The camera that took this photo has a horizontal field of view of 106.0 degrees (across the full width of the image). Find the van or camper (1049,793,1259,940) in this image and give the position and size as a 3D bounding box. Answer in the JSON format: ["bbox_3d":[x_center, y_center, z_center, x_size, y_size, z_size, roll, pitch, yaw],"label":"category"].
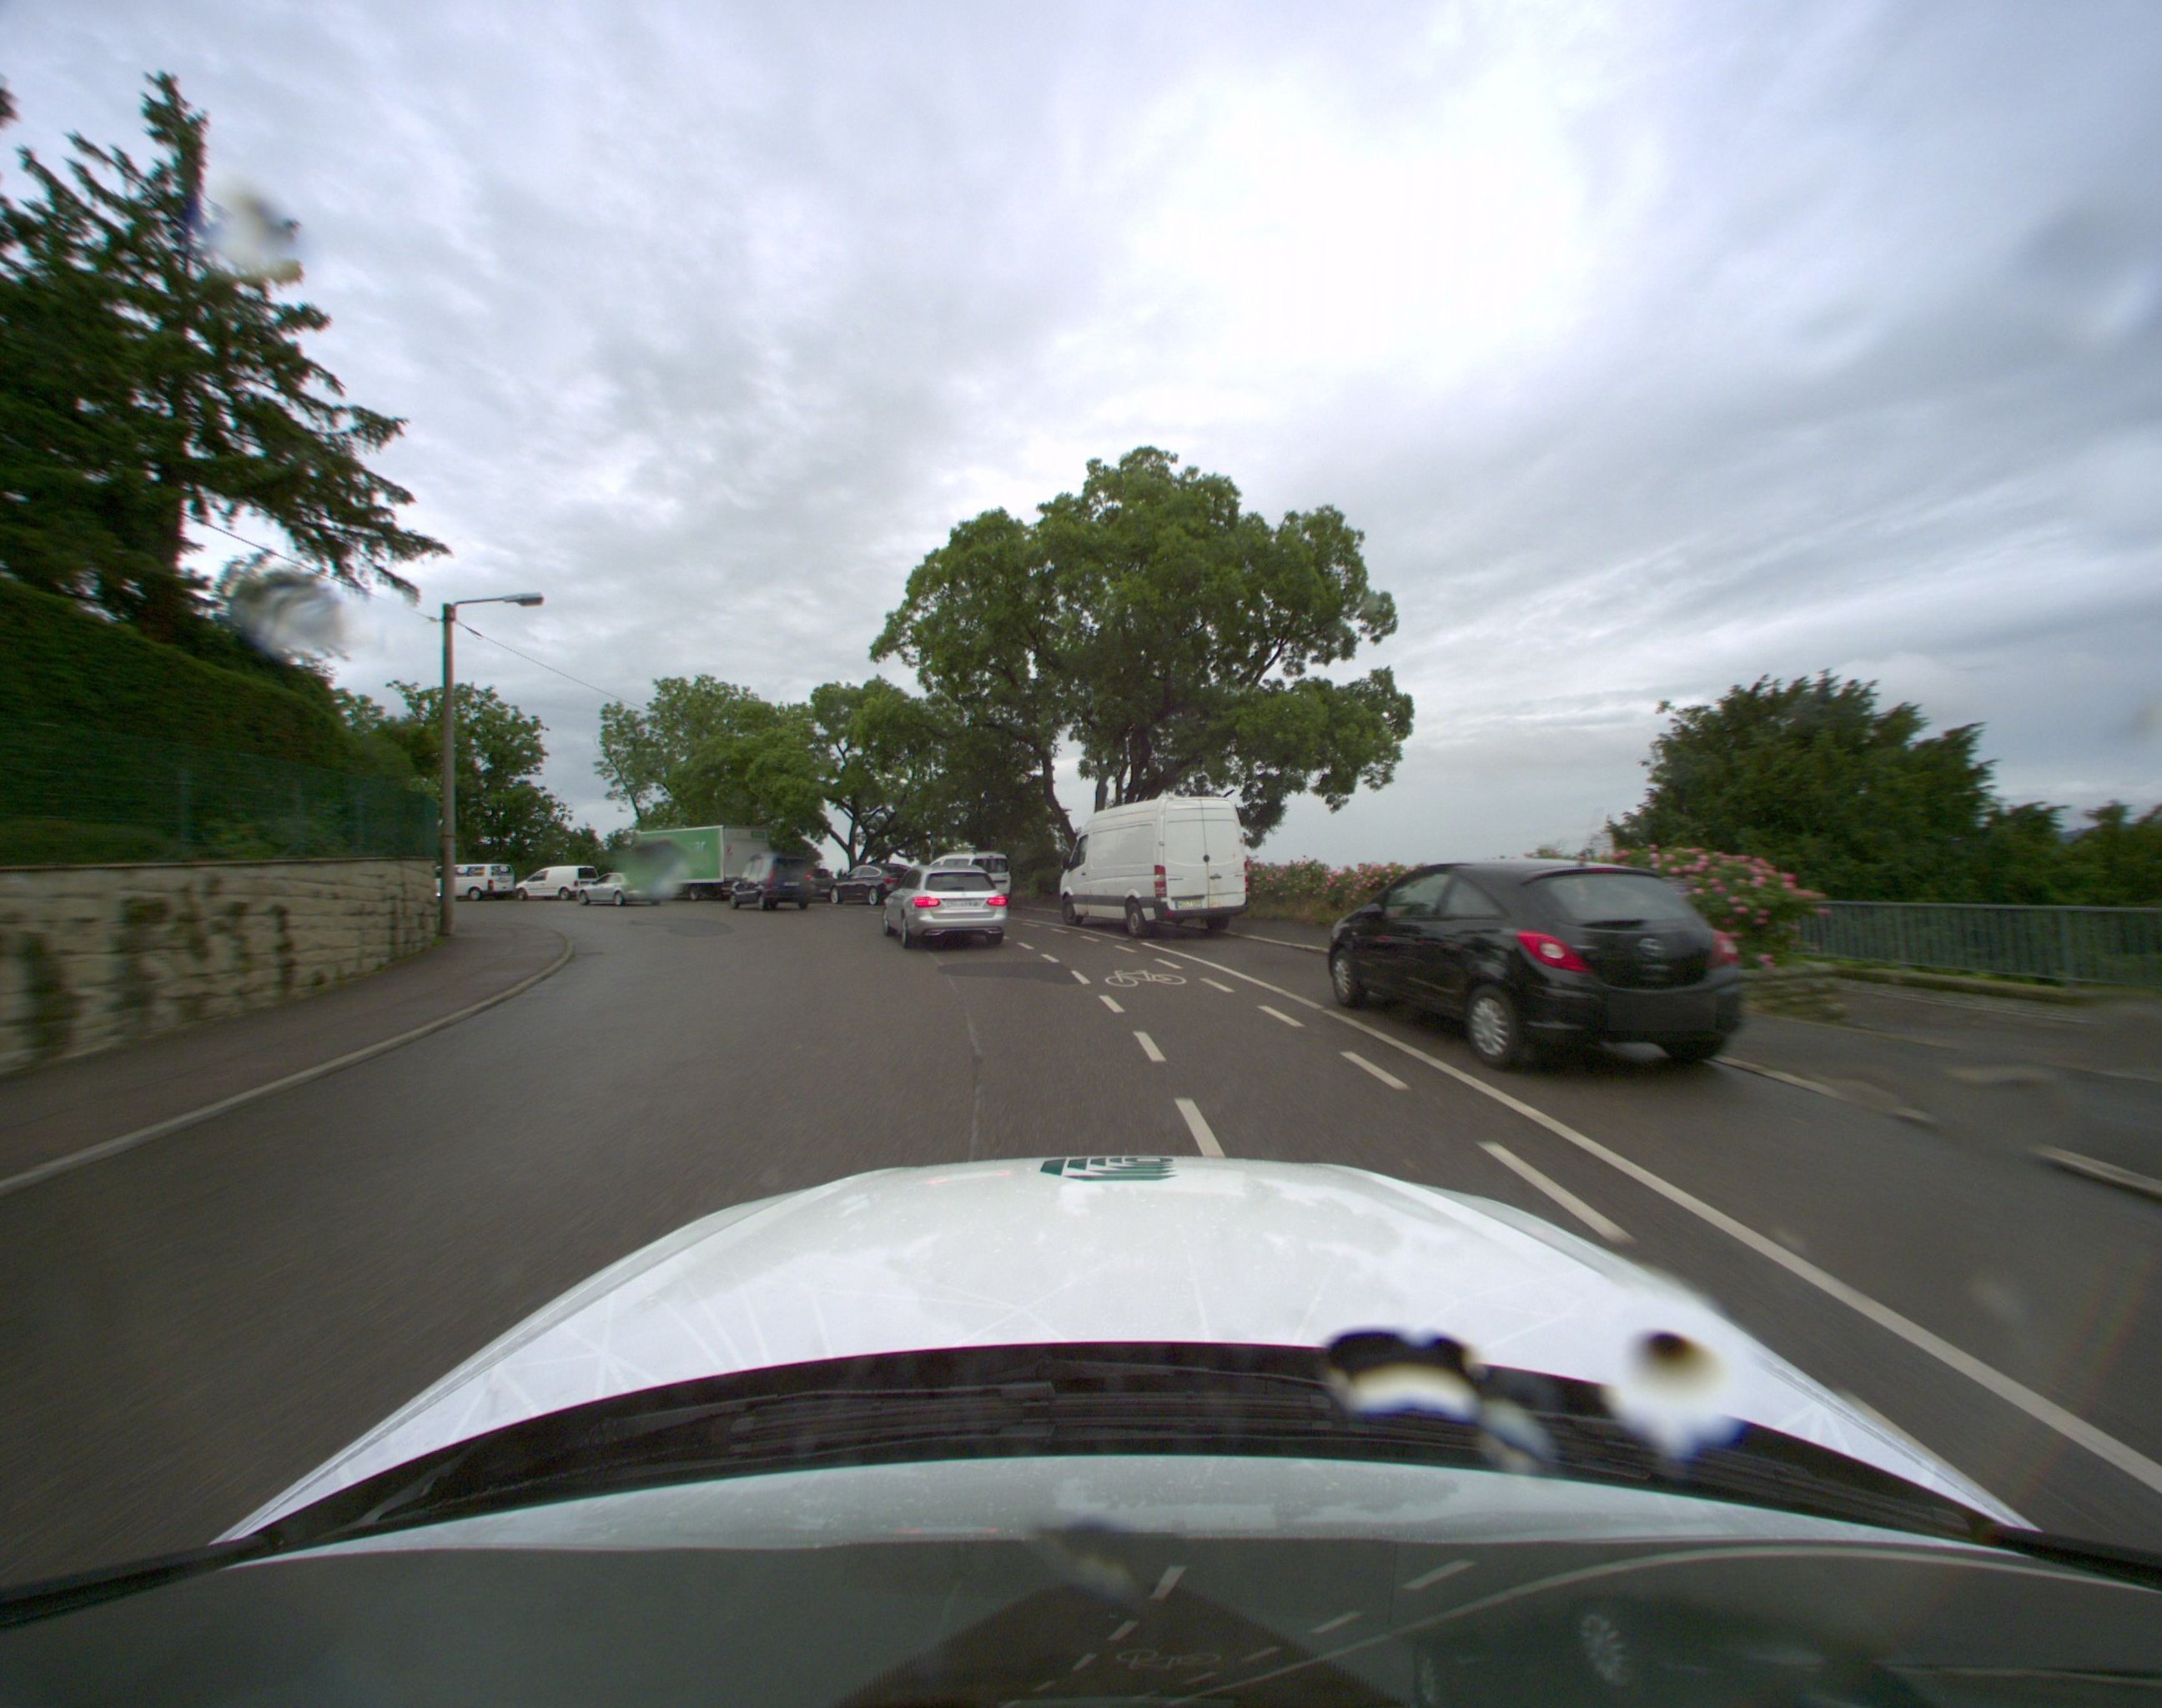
[{"bbox_3d":[1.279,0.213,17.543,2.074,2.580,5.846,-2,0,-21],"label":"van or camper"}]

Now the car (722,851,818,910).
[{"bbox_3d":[-11.130,0.904,28.983,1.840,1.882,4.046,-2,1,-42],"label":"car"}]

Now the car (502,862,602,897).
[{"bbox_3d":[-27.974,1.360,43.104,4.336,1.771,1.871,-1,-2,11],"label":"car"}]

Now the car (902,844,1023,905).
[{"bbox_3d":[-4.034,0.673,27.274,1.762,1.821,4.369,-2,0,-43],"label":"car"}]

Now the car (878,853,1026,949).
[{"bbox_3d":[-2.629,0.821,15.693,1.990,1.554,4.267,-1,-1,-21],"label":"car"}]

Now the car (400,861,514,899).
[{"bbox_3d":[-33.689,1.408,44.068,4.771,1.948,1.867,-1,-2,3],"label":"car"}]

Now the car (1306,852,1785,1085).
[{"bbox_3d":[3.535,0.720,7.157,1.693,1.444,3.939,1,0,-6],"label":"car"}]

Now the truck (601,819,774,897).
[{"bbox_3d":[-19.171,0.272,39.507,8.820,3.470,2.799,-1,0,28],"label":"truck"}]

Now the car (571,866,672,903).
[{"bbox_3d":[-19.830,1.314,35.155,4.043,1.458,1.871,-2,0,28],"label":"car"}]

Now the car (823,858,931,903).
[{"bbox_3d":[-7.932,1.004,31.377,1.877,1.542,4.835,-3,0,-43],"label":"car"}]

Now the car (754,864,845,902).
[{"bbox_3d":[-12.132,1.238,35.005,4.082,1.503,1.750,-2,0,39],"label":"car"}]
